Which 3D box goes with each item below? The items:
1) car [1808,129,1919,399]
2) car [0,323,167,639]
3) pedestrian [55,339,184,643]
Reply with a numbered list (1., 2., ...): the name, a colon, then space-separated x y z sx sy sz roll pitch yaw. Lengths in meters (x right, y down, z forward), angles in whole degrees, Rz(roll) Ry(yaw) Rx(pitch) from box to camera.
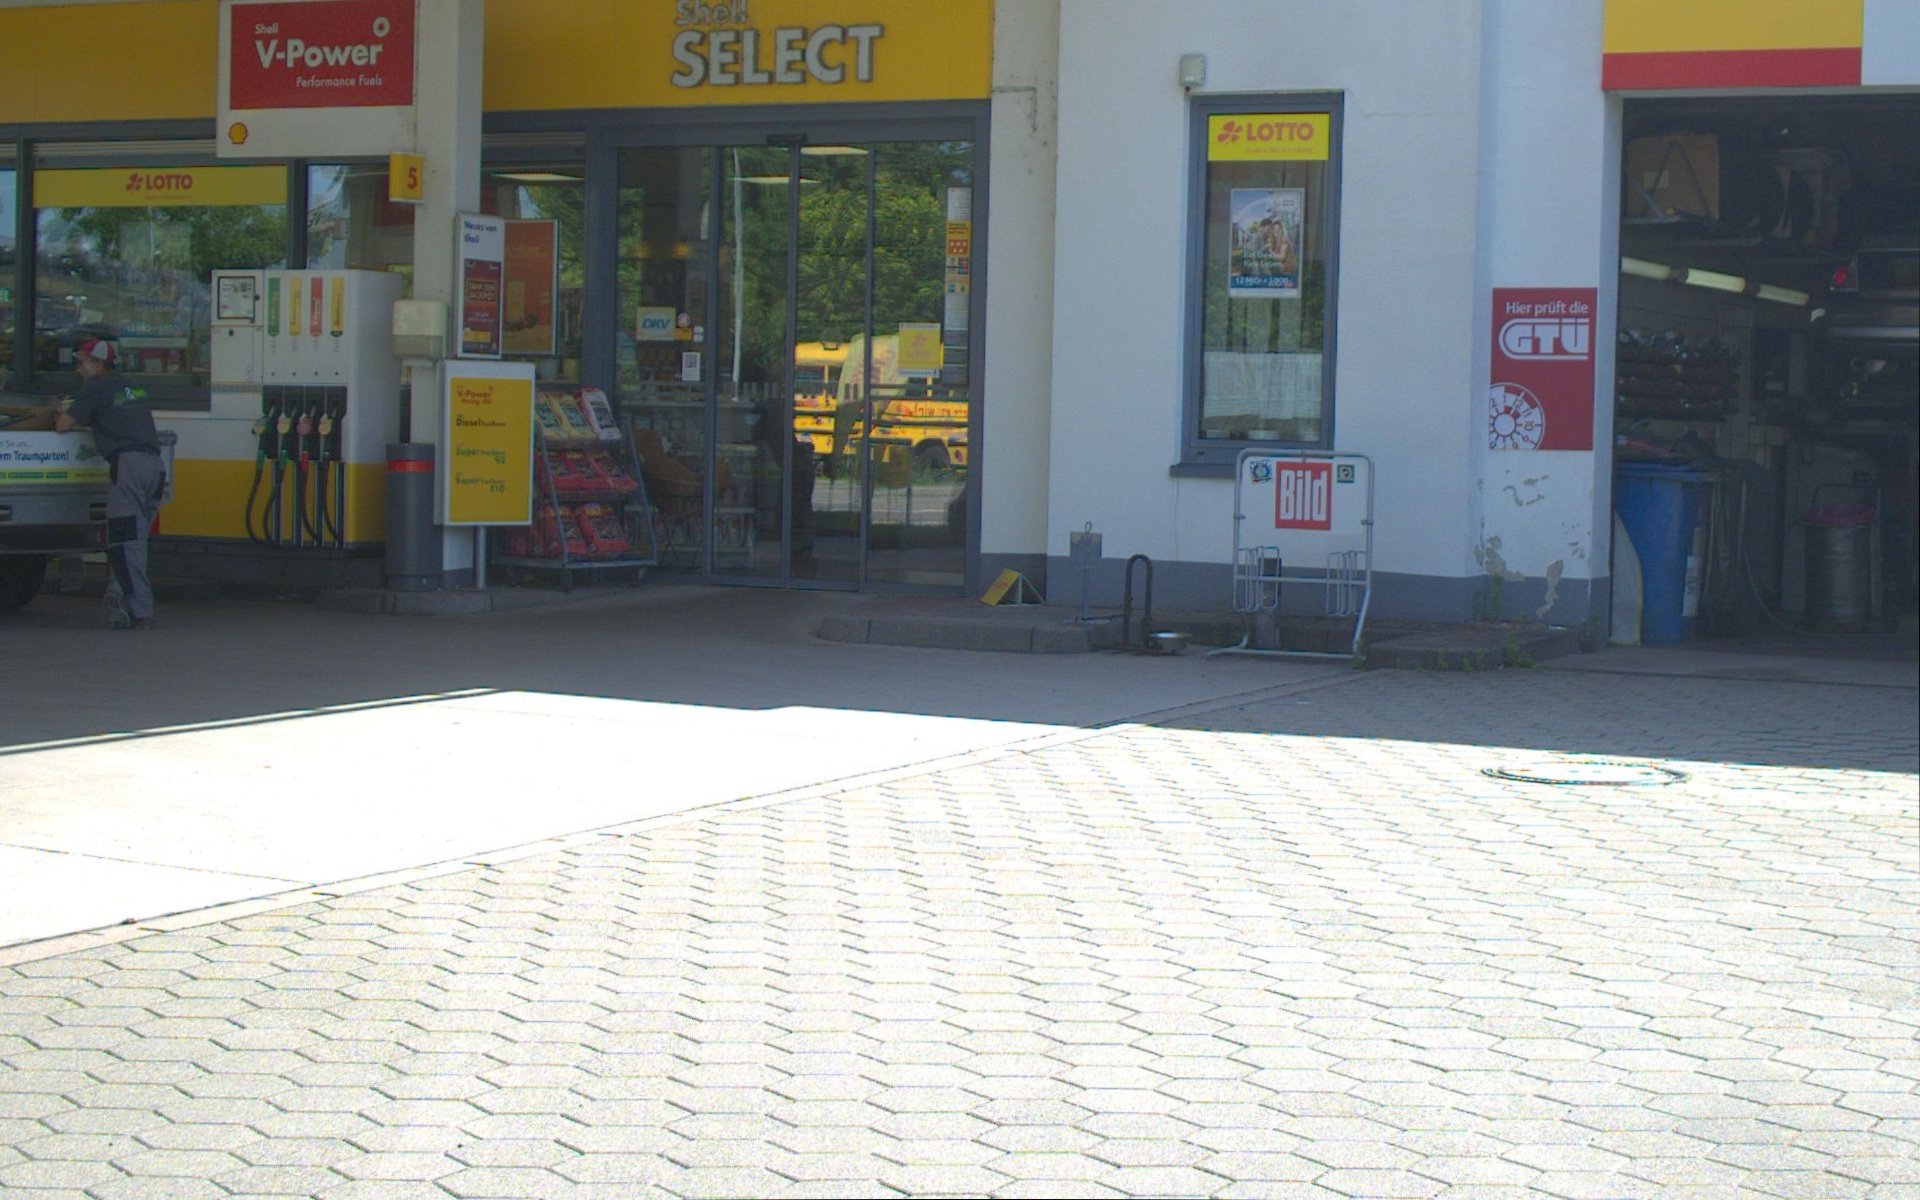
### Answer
1. car: 6.845 -2.078 22.213 1.649 1.481 3.994 2 1 29
2. car: -6.753 -0.727 20.056 3.994 1.722 1.830 2 3 31
3. pedestrian: -4.690 -0.614 19.186 0.500 1.662 0.475 3 3 28
